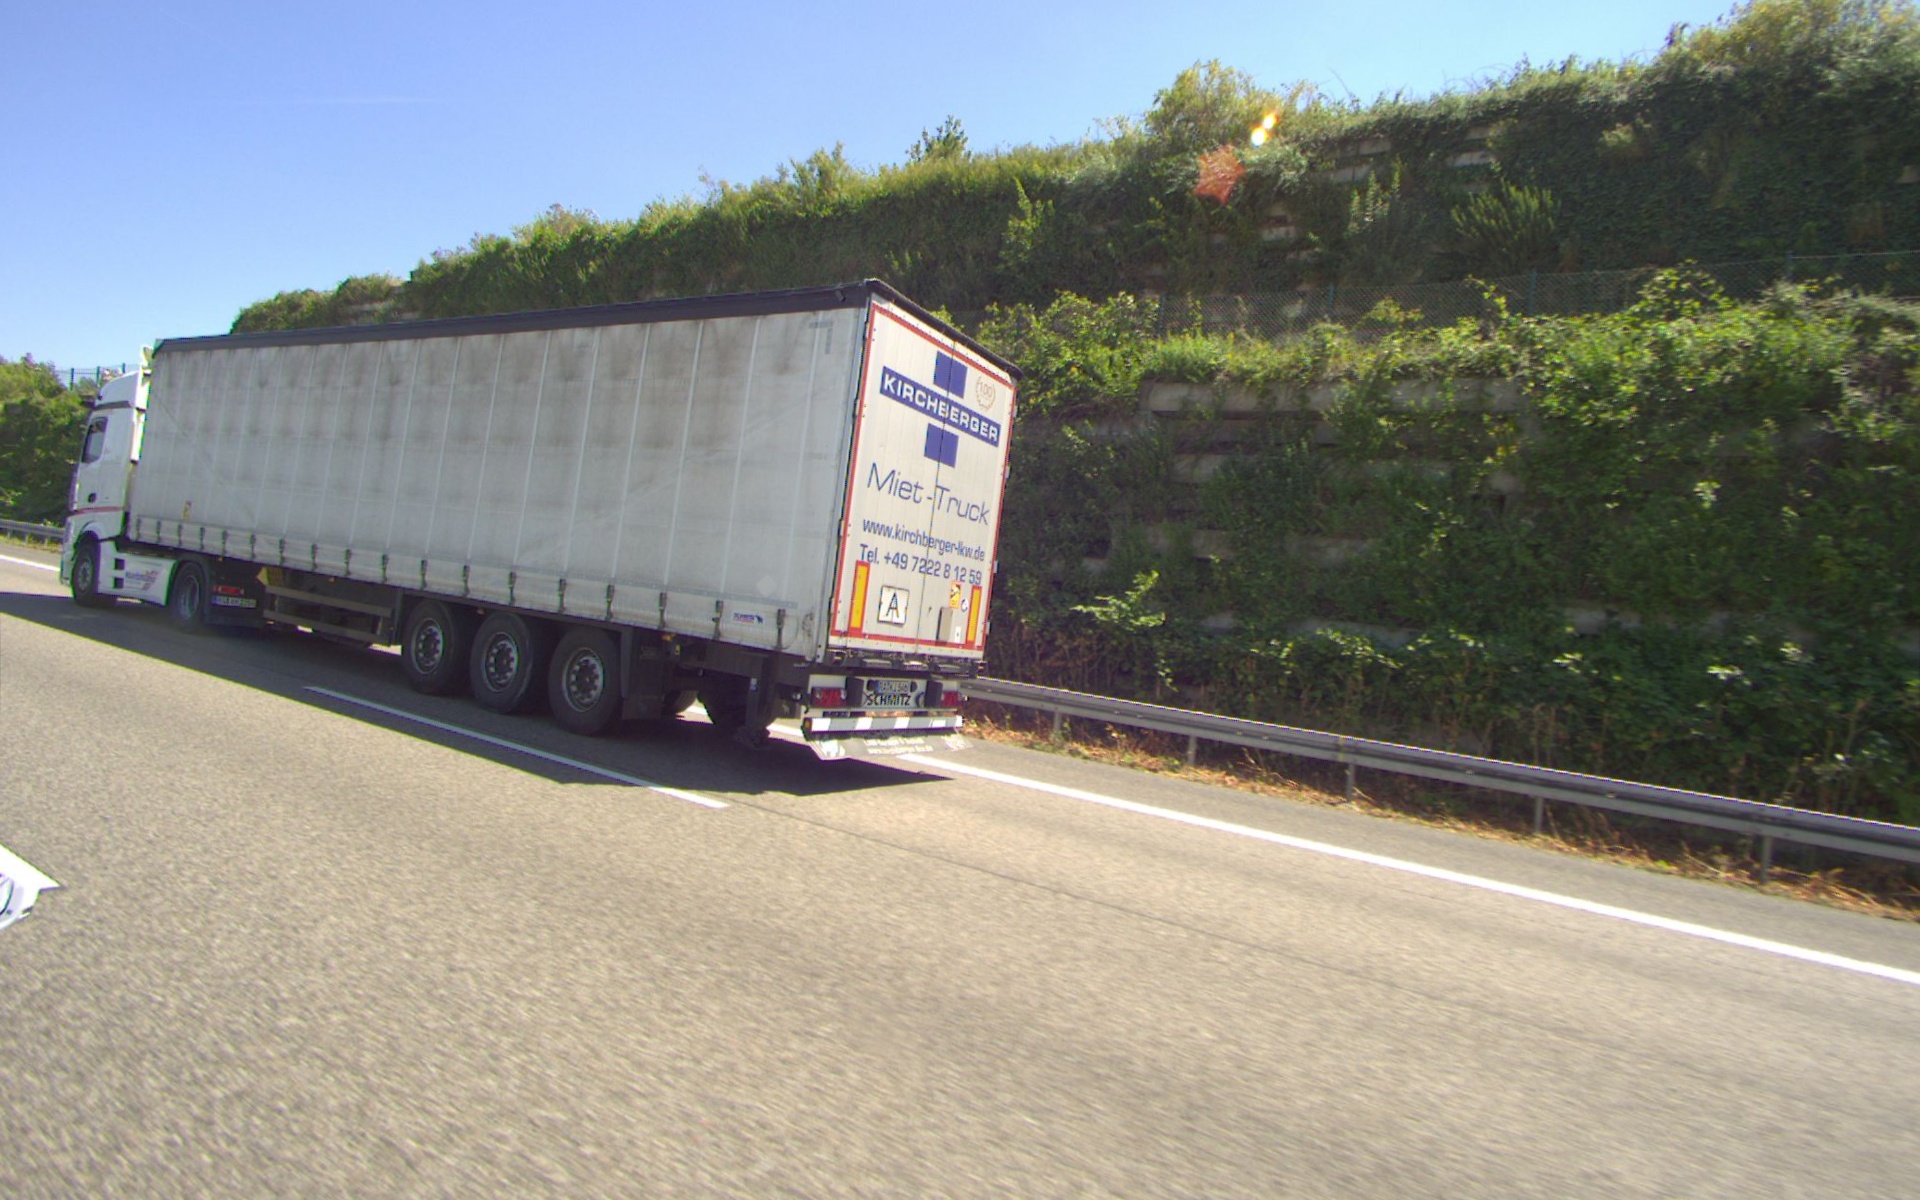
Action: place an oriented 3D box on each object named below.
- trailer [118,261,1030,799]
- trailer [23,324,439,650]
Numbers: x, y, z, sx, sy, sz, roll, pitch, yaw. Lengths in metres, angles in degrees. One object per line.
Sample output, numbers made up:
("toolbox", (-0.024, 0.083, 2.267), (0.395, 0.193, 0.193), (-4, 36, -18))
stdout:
("trailer", (-5.724, -1.037, 12.275), (12.970, 4.152, 2.732), (6, 0, 32))
("trailer", (-11.704, -1.723, 15.974), (6.677, 4.152, 2.717), (6, 0, 32))
